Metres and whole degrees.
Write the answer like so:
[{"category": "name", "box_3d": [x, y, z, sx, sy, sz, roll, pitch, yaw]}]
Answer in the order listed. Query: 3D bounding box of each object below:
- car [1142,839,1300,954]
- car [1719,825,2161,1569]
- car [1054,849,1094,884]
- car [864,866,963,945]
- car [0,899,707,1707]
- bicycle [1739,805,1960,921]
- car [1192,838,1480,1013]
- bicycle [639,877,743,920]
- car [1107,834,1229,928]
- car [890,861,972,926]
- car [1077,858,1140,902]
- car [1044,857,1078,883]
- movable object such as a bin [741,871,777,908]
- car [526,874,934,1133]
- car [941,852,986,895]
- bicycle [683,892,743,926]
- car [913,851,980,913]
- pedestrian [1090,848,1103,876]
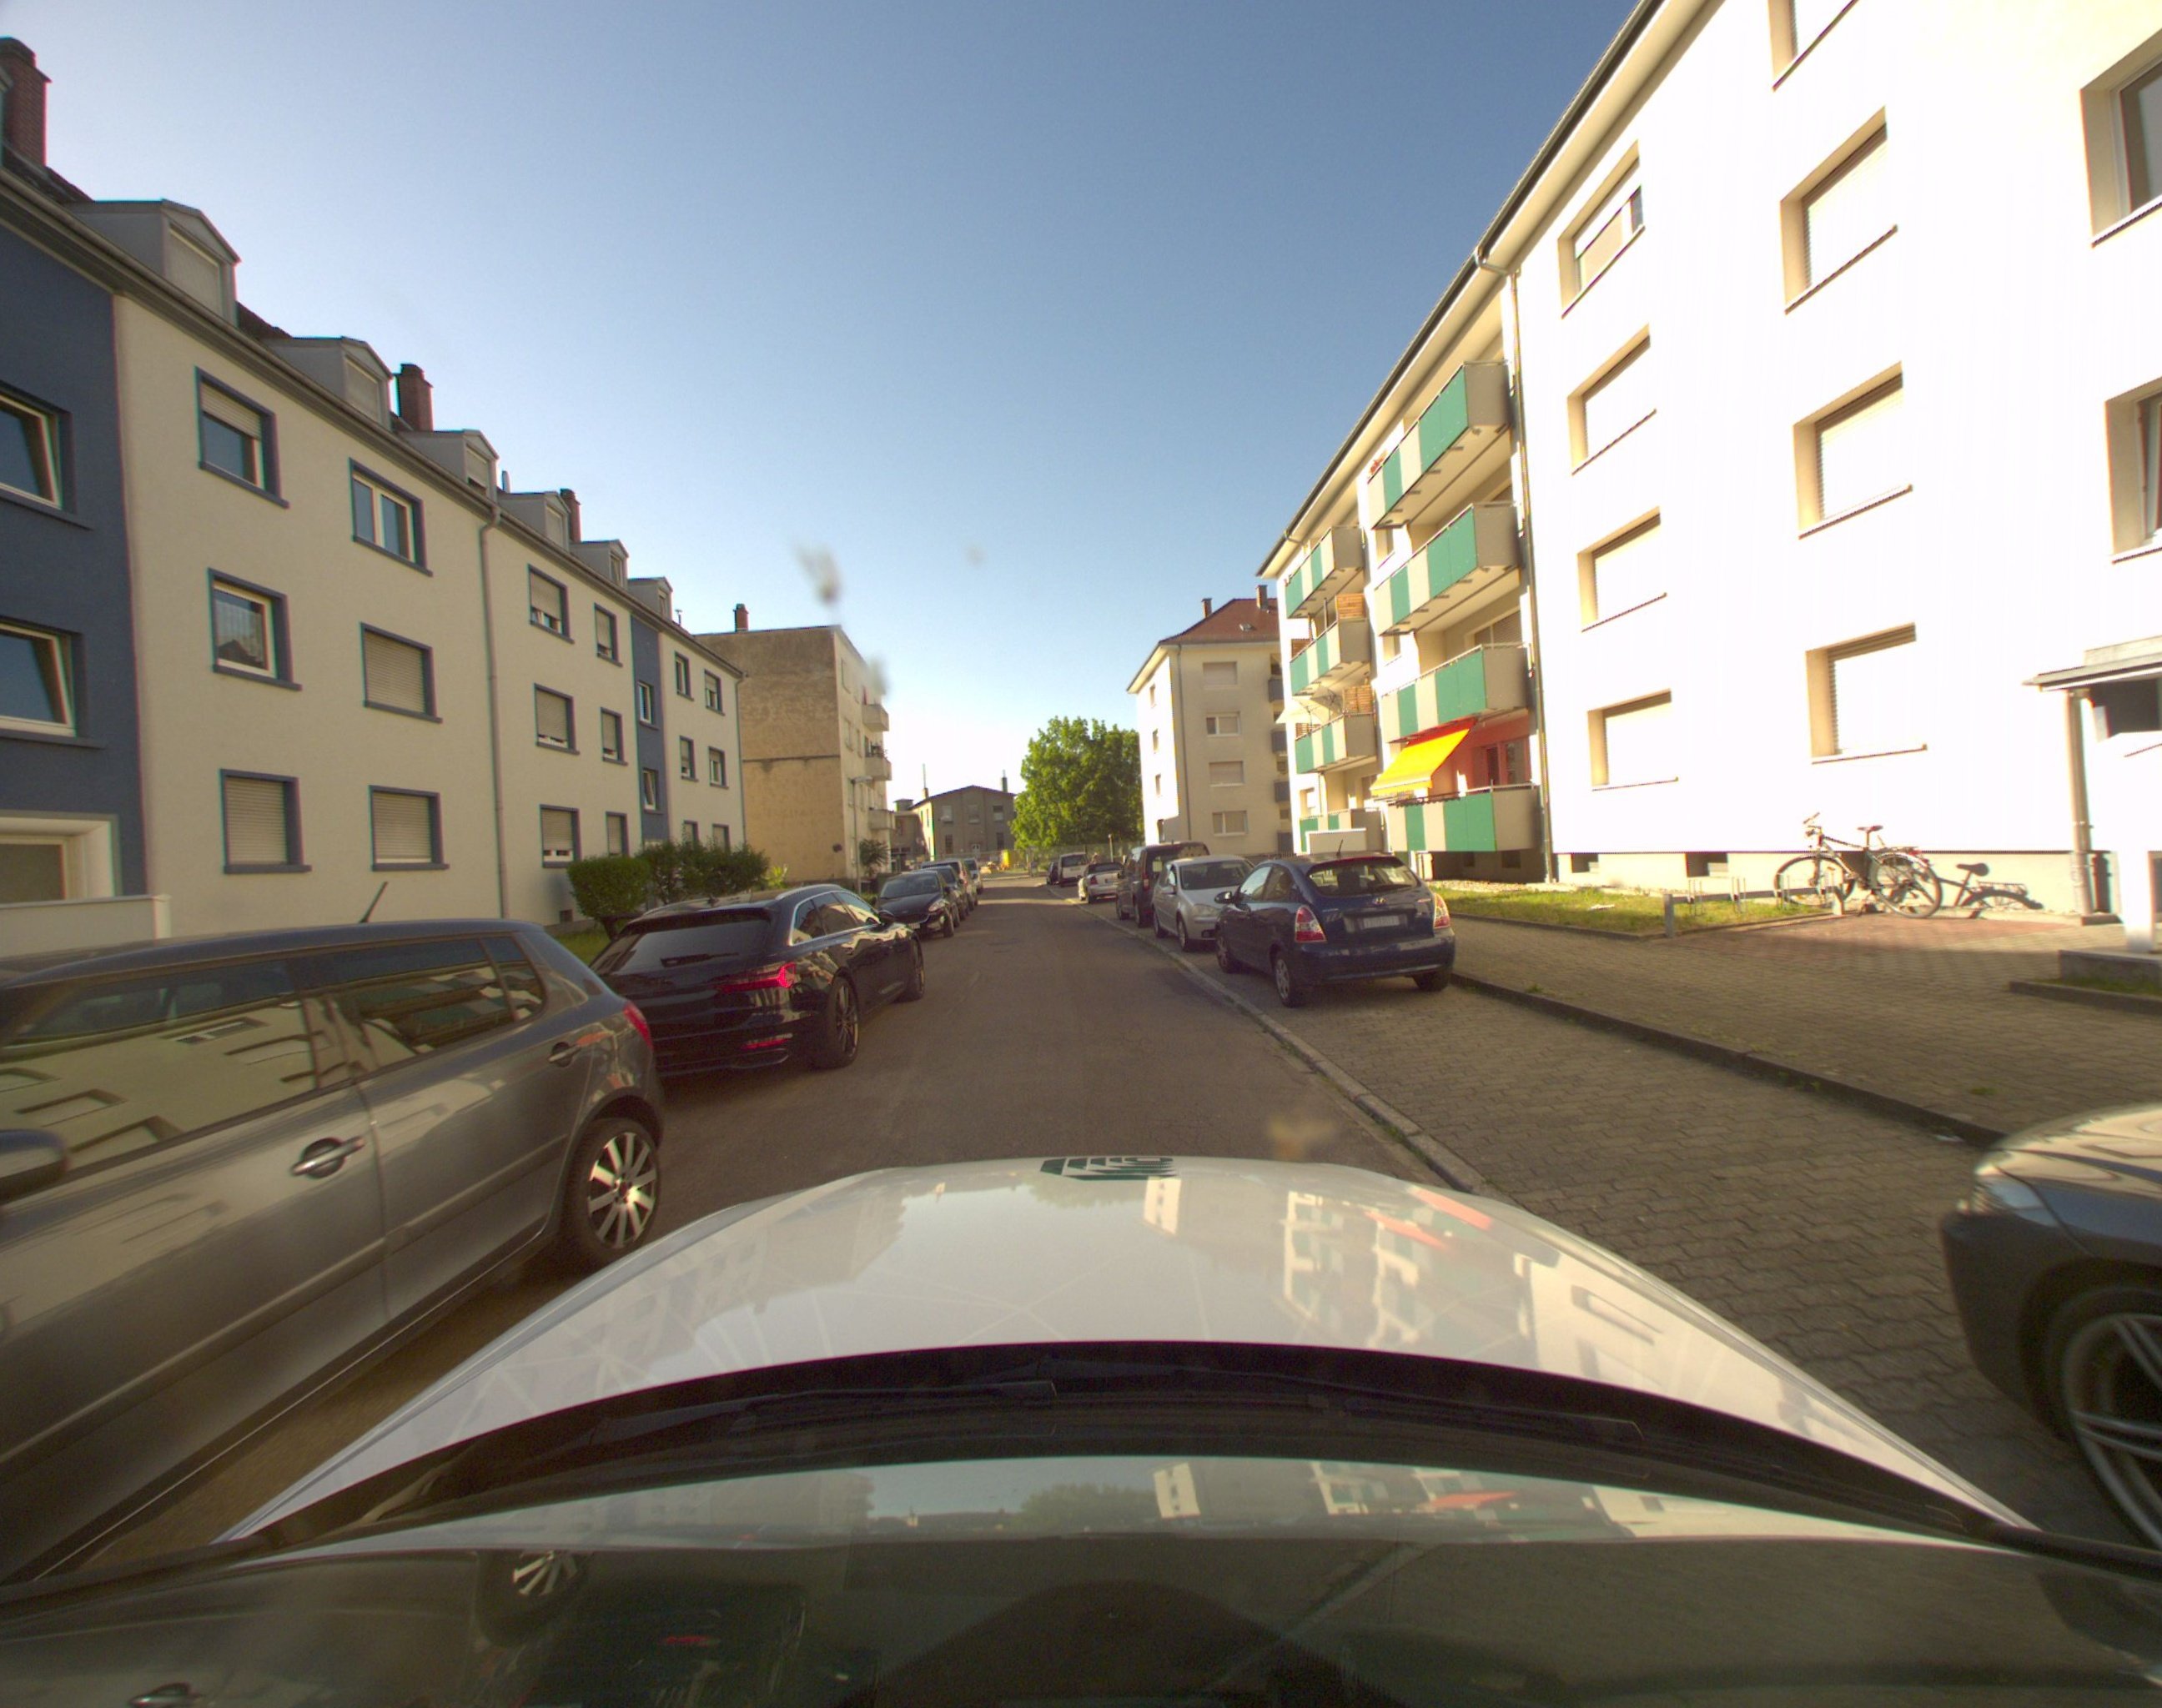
[{"category": "car", "box_3d": [2.271, 0.655, 14.293, 1.679, 1.587, 4.005, -5, 0, -5]}, {"category": "car", "box_3d": [2.908, 0.653, 0.455, 1.680, 1.363, 4.239, -6, 0, 0]}, {"category": "car", "box_3d": [-0.451, 0.707, 45.995, 1.763, 1.739, 4.086, -6, 0, -5]}, {"category": "car", "box_3d": [-3.669, 1.078, 18.467, 1.656, 1.443, 3.863, -6, 0, -6]}, {"category": "car", "box_3d": [-2.668, 1.040, 2.050, 1.473, 1.477, 3.633, -8, -1, 2]}, {"category": "bicycle", "box_3d": [8.351, 0.079, 8.969, 0.648, 1.068, 1.732, -9, 1, -2]}, {"category": "car", "box_3d": [2.658, 0.683, 9.689, 1.734, 1.431, 4.350, -6, 0, -3]}, {"category": "bicycle", "box_3d": [-11.683, 1.323, 24.478, 2.671, 1.130, 0.770, -2, 0, -12]}, {"category": "car", "box_3d": [1.941, 0.631, 19.550, 1.894, 1.855, 4.333, -4, -1, -6]}, {"category": "car", "box_3d": [-4.176, 1.057, 23.274, 1.831, 1.515, 3.991, -6, 0, -6]}, {"category": "car", "box_3d": [0.931, 0.922, 29.956, 1.715, 1.364, 4.047, -6, -1, -5]}, {"category": "car", "box_3d": [-1.294, 0.996, 51.486, 1.763, 1.362, 4.086, -6, 0, -5]}, {"category": "movable object such as a bin", "box_3d": [-14.324, 1.564, 36.307, 1.067, 1.539, 1.354, -6, -1, -8]}, {"category": "car", "box_3d": [-2.738, 1.042, 7.696, 1.738, 1.431, 4.597, -7, 0, 0]}, {"category": "car", "box_3d": [-6.315, 1.043, 44.211, 1.991, 2.013, 4.445, -6, 0, -6]}, {"category": "bicycle", "box_3d": [-12.222, 1.822, 27.086, 1.644, 0.936, 0.547, -6, -1, -4]}, {"category": "car", "box_3d": [-4.642, 0.959, 28.715, 1.894, 1.855, 4.186, -4, -1, -5]}, {"category": "pedestrian", "box_3d": [1.080, 0.537, 55.545, 0.651, 1.815, 0.615, -6, -1, 4]}]
